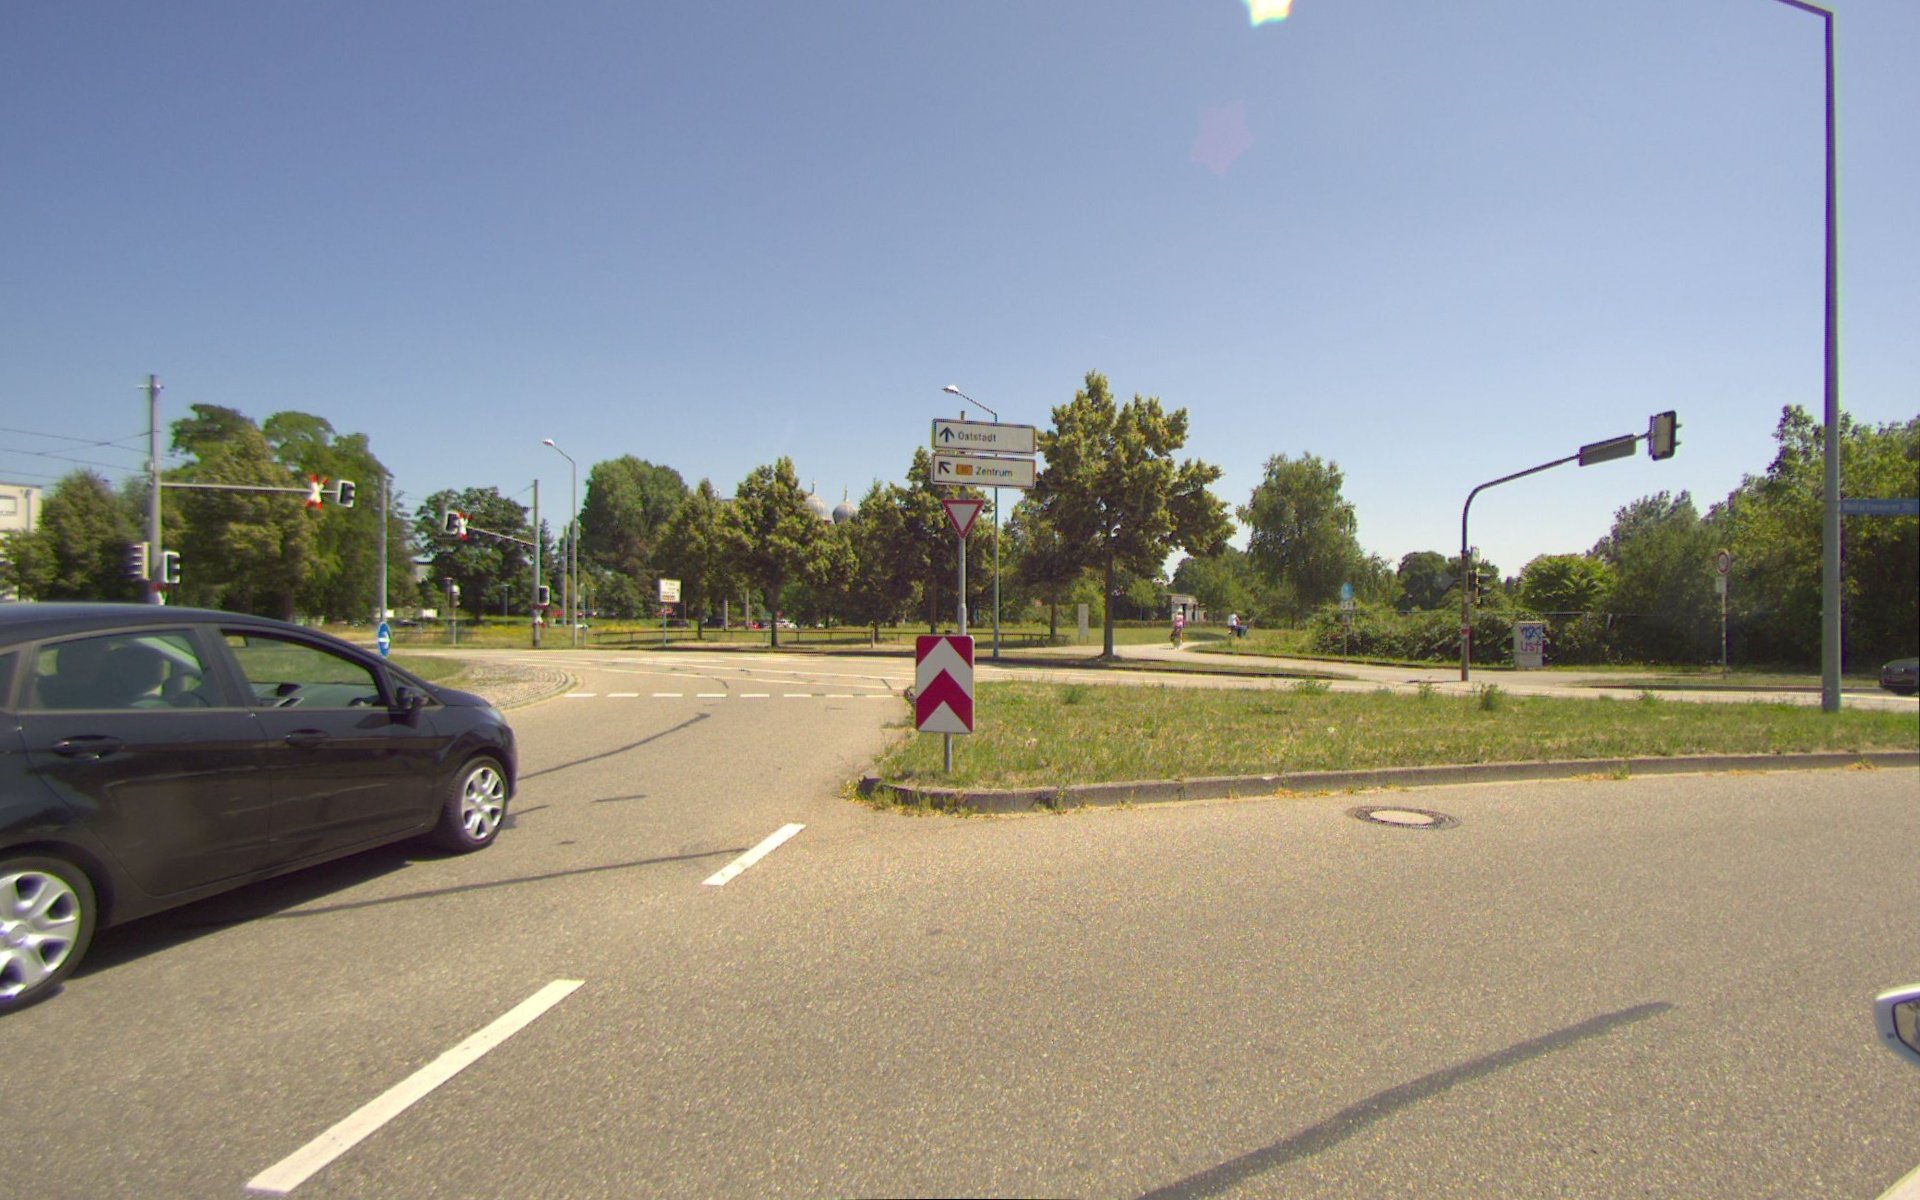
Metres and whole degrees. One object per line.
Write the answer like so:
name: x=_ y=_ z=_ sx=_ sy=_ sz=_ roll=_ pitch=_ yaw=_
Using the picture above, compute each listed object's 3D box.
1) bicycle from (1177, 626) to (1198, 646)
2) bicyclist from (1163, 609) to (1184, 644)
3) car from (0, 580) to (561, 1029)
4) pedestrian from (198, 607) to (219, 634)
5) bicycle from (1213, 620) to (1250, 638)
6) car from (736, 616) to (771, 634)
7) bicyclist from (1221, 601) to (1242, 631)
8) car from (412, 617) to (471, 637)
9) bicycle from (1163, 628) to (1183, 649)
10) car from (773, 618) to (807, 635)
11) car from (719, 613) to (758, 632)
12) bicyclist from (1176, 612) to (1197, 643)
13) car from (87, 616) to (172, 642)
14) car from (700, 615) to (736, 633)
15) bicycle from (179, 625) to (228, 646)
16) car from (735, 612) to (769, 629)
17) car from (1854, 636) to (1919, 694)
bicycle: x=11.939 y=1.879 z=52.651 sx=0.881 sy=0.912 sz=1.762 roll=1 pitch=1 yaw=18
bicyclist: x=10.108 y=1.265 z=47.529 sx=0.940 sy=1.631 sz=1.187 roll=0 pitch=-2 yaw=13
car: x=-3.807 y=0.703 z=4.830 sx=1.601 sy=1.528 sz=3.821 roll=2 pitch=0 yaw=12
pedestrian: x=-41.578 y=1.149 z=55.598 sx=0.808 sy=1.469 sz=0.704 roll=2 pitch=-2 yaw=-30
bicycle: x=15.337 y=1.659 z=56.708 sx=0.731 sy=0.924 sz=2.911 roll=-1 pitch=-3 yaw=44
car: x=-25.636 y=3.123 z=124.798 sx=3.923 sy=2.040 sz=1.999 roll=1 pitch=-2 yaw=-4
bicyclist: x=15.315 y=0.903 z=56.701 sx=0.972 sy=1.635 sz=0.746 roll=3 pitch=-3 yaw=-45
car: x=-43.940 y=2.277 z=85.200 sx=3.926 sy=1.594 sz=1.998 roll=1 pitch=-2 yaw=-7
bicycle: x=10.073 y=1.811 z=47.512 sx=0.880 sy=0.912 sz=2.228 roll=1 pitch=-2 yaw=13
car: x=-22.358 y=3.484 z=132.148 sx=3.920 sy=2.040 sz=2.001 roll=1 pitch=-2 yaw=3
car: x=-24.771 y=2.508 z=112.519 sx=3.923 sy=2.040 sz=1.999 roll=1 pitch=-2 yaw=-4
bicyclist: x=11.882 y=1.424 z=52.664 sx=0.941 sy=1.552 sz=1.186 roll=0 pitch=0 yaw=18
car: x=-55.607 y=1.965 z=67.308 sx=1.967 sy=1.706 sz=3.988 roll=-1 pitch=-3 yaw=35
car: x=-28.955 y=2.881 z=120.241 sx=3.923 sy=2.040 sz=1.999 roll=1 pitch=-2 yaw=-4
bicycle: x=-41.746 y=1.969 z=55.460 sx=2.034 sy=1.129 sz=0.724 roll=2 pitch=-3 yaw=-30
car: x=-26.323 y=2.604 z=127.152 sx=3.923 sy=2.040 sz=1.999 roll=1 pitch=-2 yaw=-4
car: x=24.083 y=1.534 z=23.734 sx=4.321 sy=1.287 sz=1.864 roll=0 pitch=-1 yaw=-1
